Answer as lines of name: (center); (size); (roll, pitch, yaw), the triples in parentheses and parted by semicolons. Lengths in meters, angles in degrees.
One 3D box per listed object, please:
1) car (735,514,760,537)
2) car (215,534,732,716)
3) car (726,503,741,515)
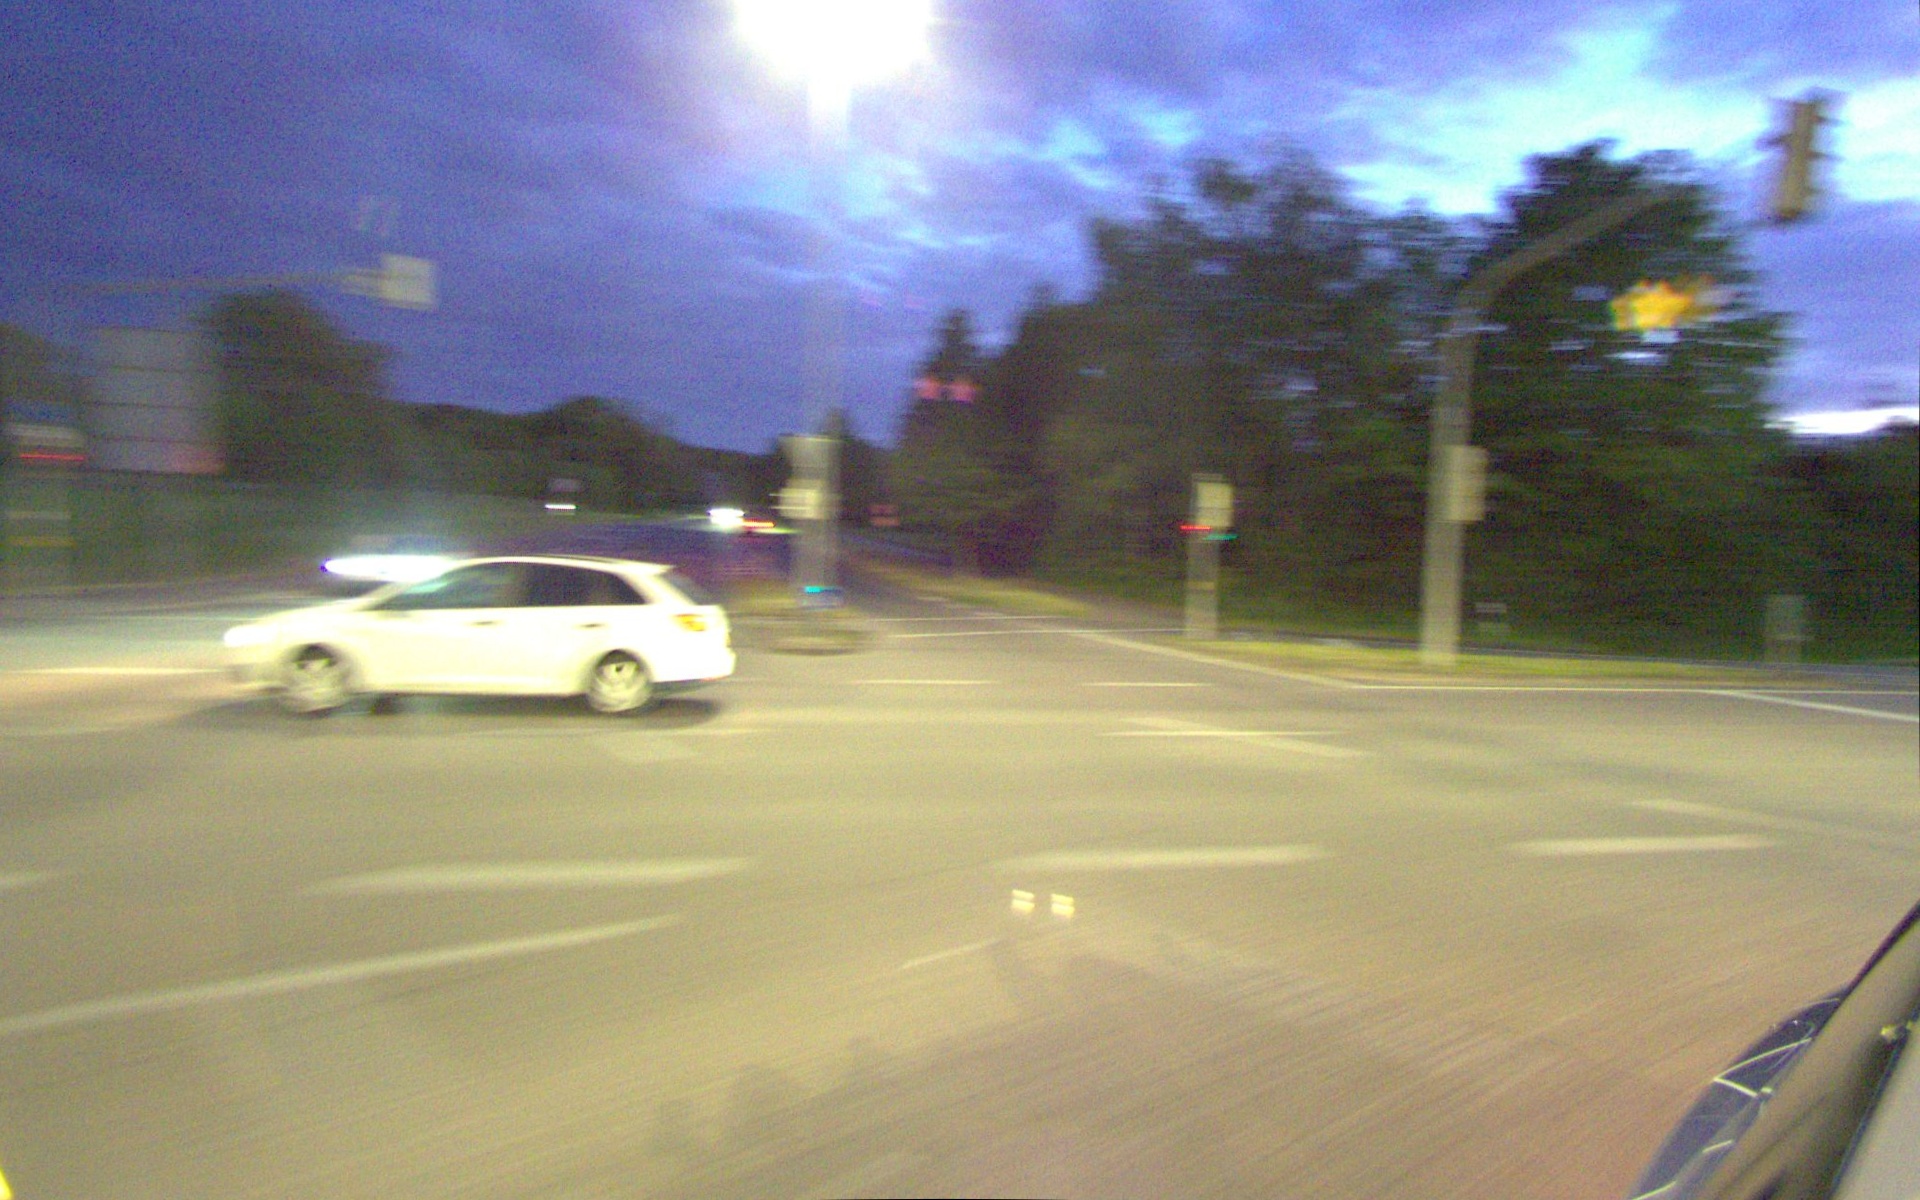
car: (-17.762, -6.220, 84.392); (1.703, 1.590, 4.075); (3, 7, -16)
car: (-4.189, 0.208, 9.353); (4.032, 1.461, 1.628); (1, 2, -13)
car: (-34.983, -14.018, 156.426); (1.666, 1.616, 3.927); (1, 1, -2)
